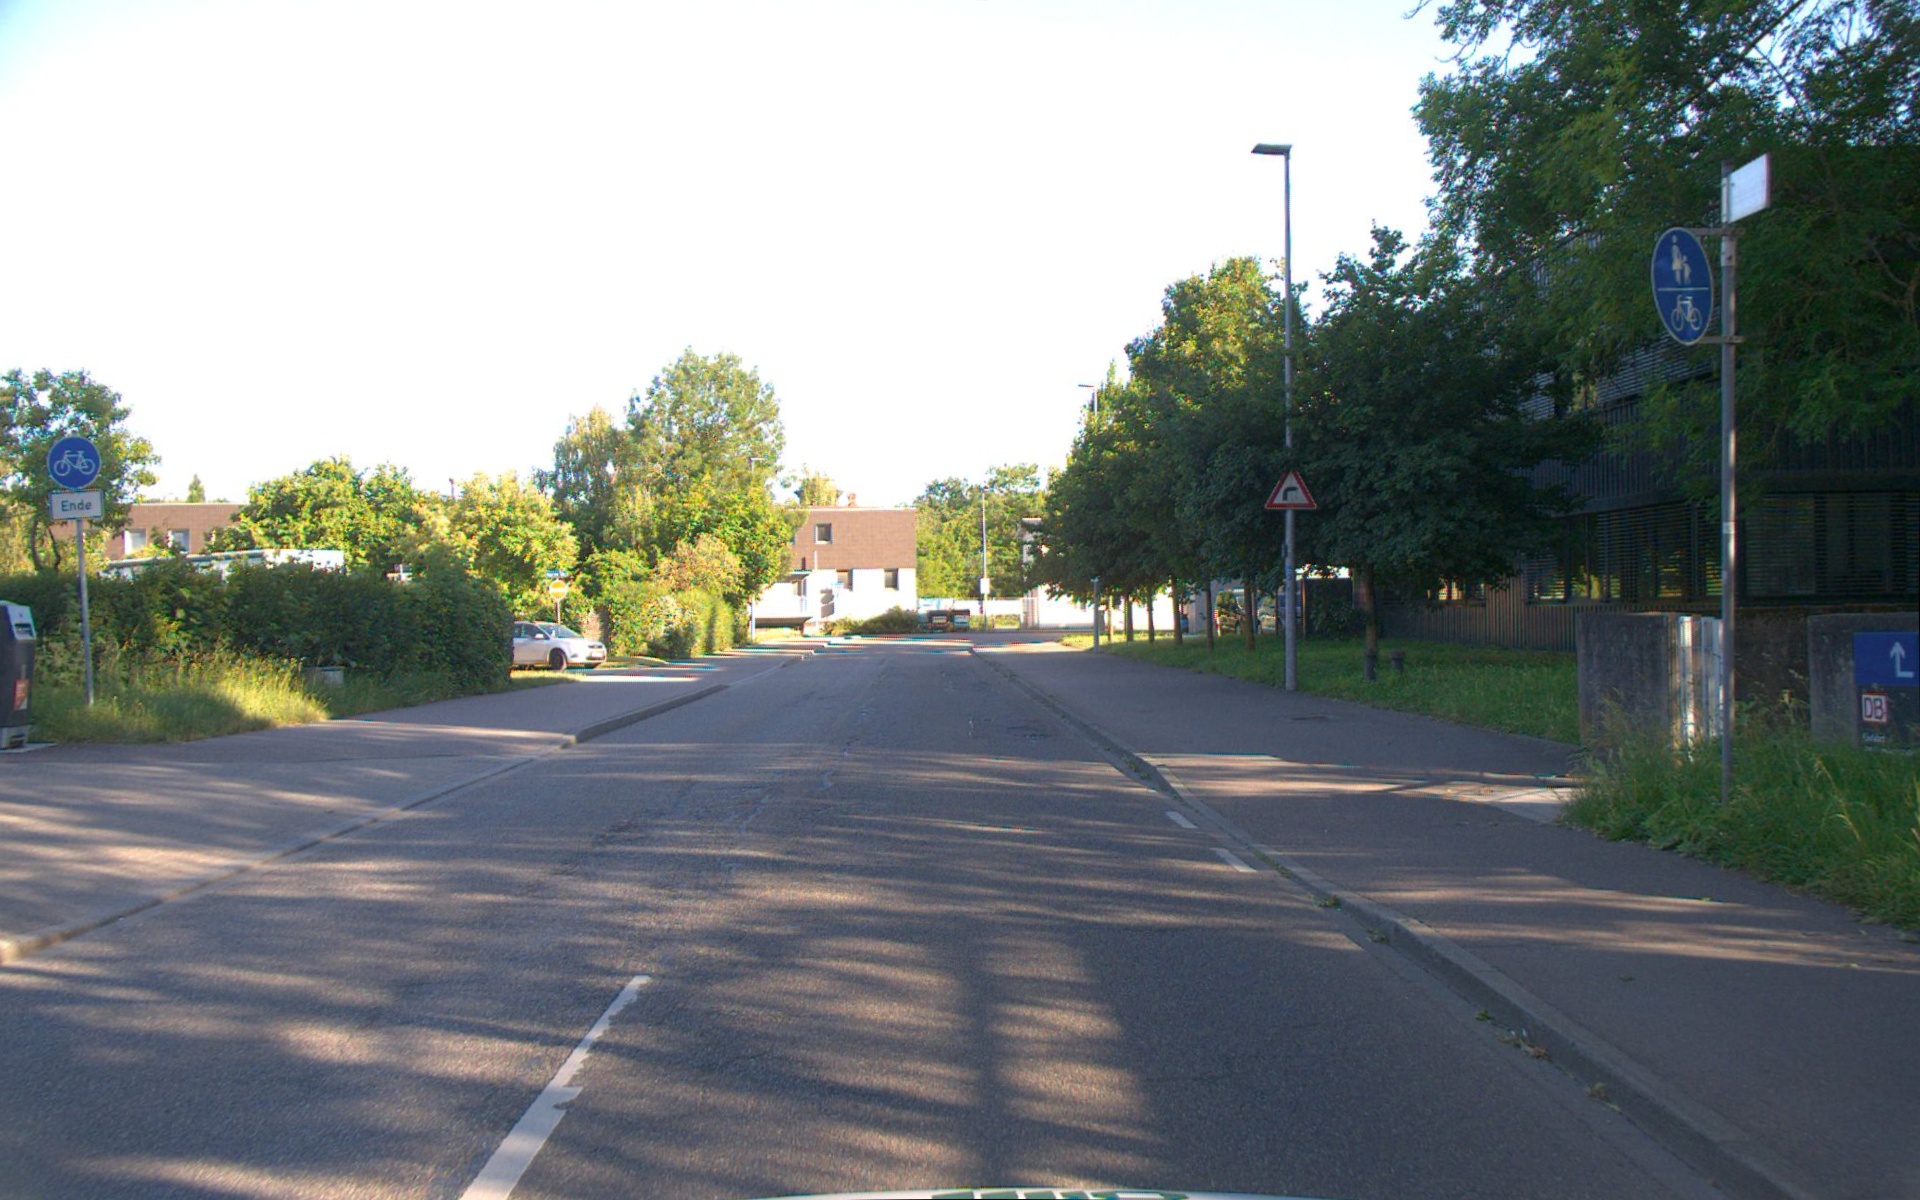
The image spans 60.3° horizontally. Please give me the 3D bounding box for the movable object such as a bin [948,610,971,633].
[{"bbox_3d":[-0.036,1.351,103.139,1.339,1.443,1.063,1,-2,-9],"label":"movable object such as a bin"}]

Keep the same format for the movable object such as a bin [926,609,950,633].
[{"bbox_3d":[-1.373,1.326,102.807,1.339,1.443,1.063,1,-2,-9],"label":"movable object such as a bin"}]

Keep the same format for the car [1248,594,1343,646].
[{"bbox_3d":[10.196,0.645,50.556,1.799,1.492,4.275,1,-2,-4],"label":"car"}]

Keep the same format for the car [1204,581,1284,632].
[{"bbox_3d":[10.810,0.286,63.188,1.800,1.846,4.659,1,-2,-6],"label":"car"}]

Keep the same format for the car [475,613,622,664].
[{"bbox_3d":[-12.715,1.179,51.095,4.127,1.516,1.875,0,-2,25],"label":"car"}]

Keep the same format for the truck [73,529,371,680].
[{"bbox_3d":[-21.140,0.266,47.188,9.125,3.952,2.707,-2,-3,28],"label":"truck"}]

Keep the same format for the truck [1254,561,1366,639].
[{"bbox_3d":[13.589,0.043,64.733,2.313,2.888,6.741,1,-1,-6],"label":"truck"}]
